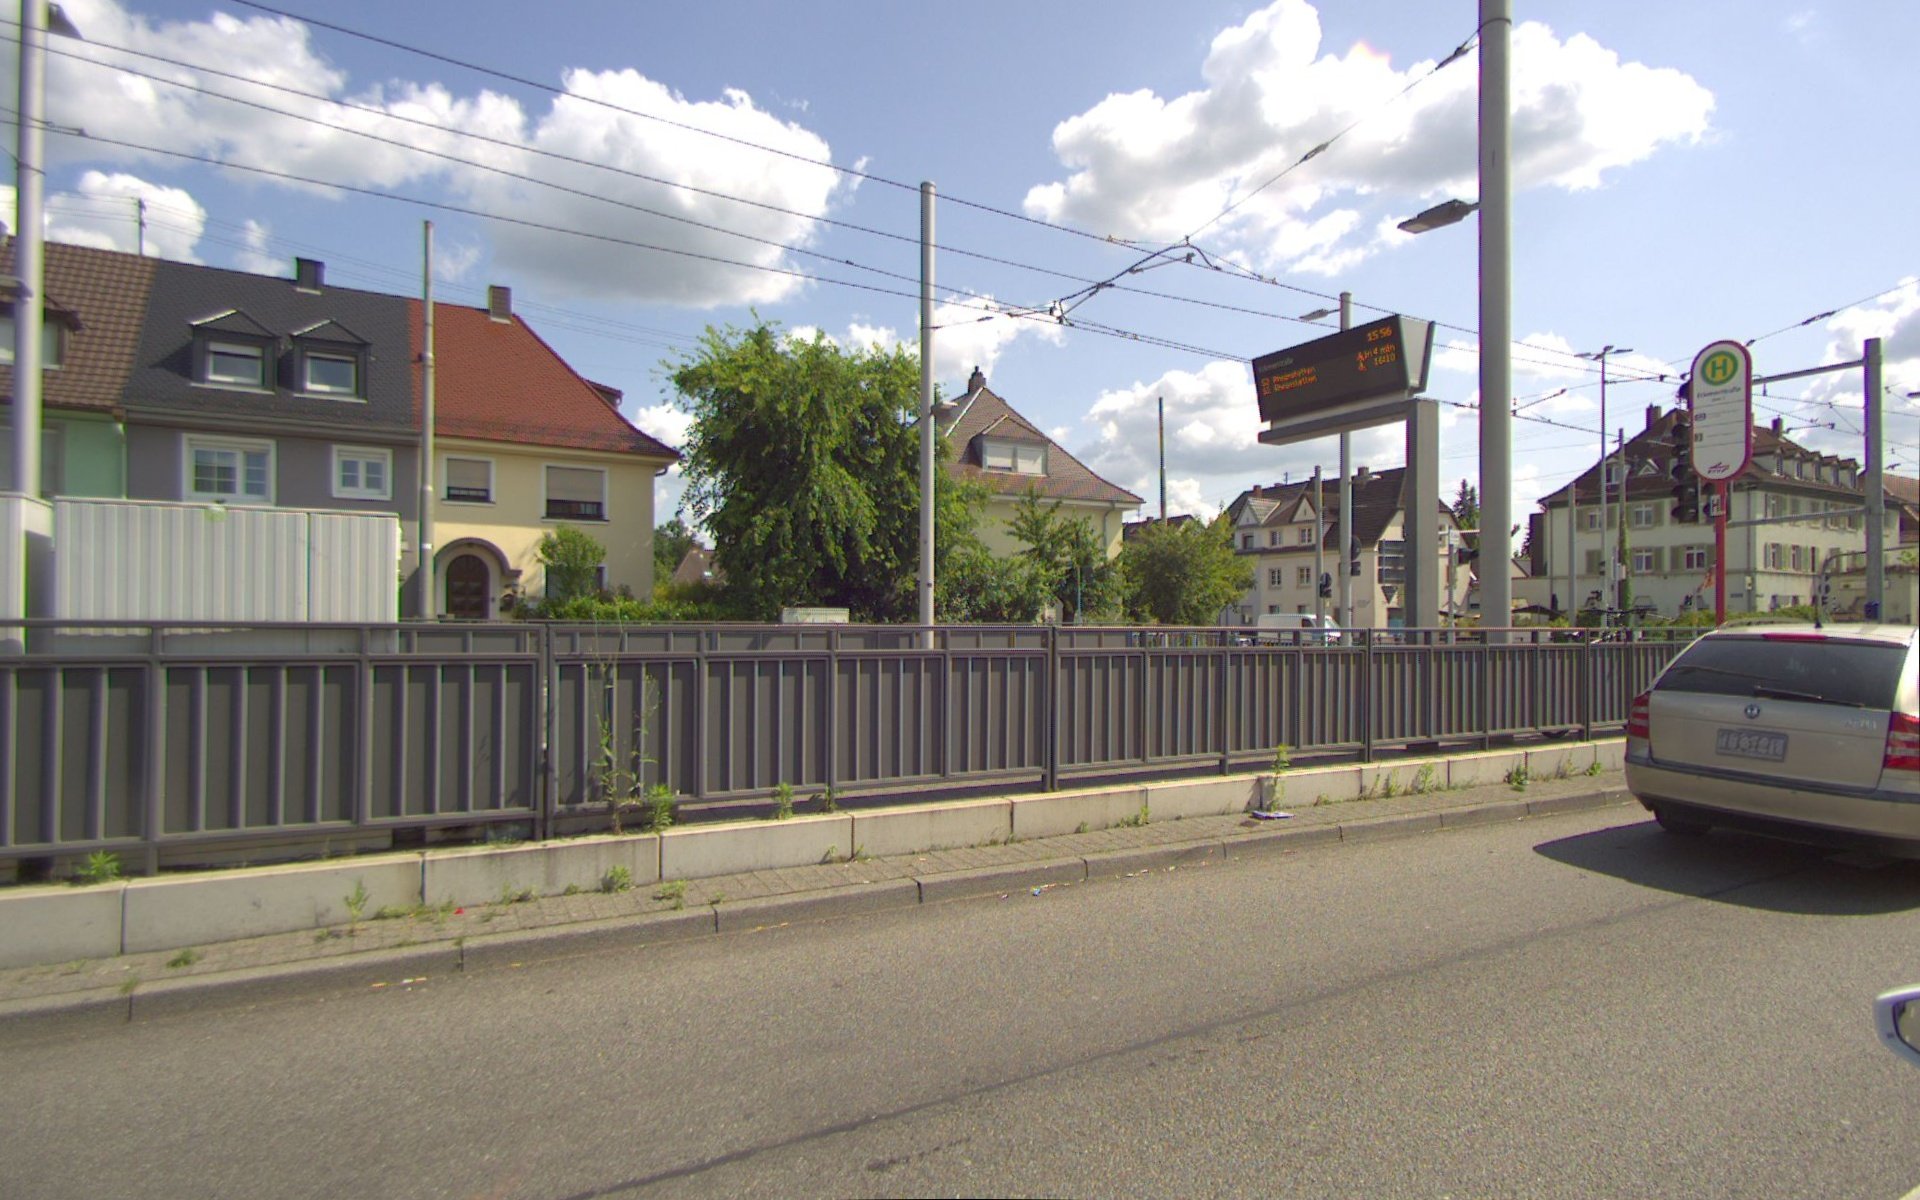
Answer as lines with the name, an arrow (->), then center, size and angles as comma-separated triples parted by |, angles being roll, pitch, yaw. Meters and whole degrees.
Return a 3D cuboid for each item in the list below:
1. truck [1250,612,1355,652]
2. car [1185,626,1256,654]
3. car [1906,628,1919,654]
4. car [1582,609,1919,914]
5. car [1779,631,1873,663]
truck -> 19.027, 1.754, 56.236 | 1.668, 1.947, 6.163 | 2, 0, -26
car -> 16.124, 2.472, 62.356 | 1.974, 1.573, 4.149 | 2, -1, -27
car -> 53.240, 2.256, 54.296 | 4.288, 1.369, 1.678 | 2, 0, -26
car -> 6.151, 0.862, 6.641 | 4.074, 1.468, 1.723 | 2, 0, -30
car -> 40.904, 2.203, 47.433 | 4.284, 1.369, 1.680 | 2, 0, -24
